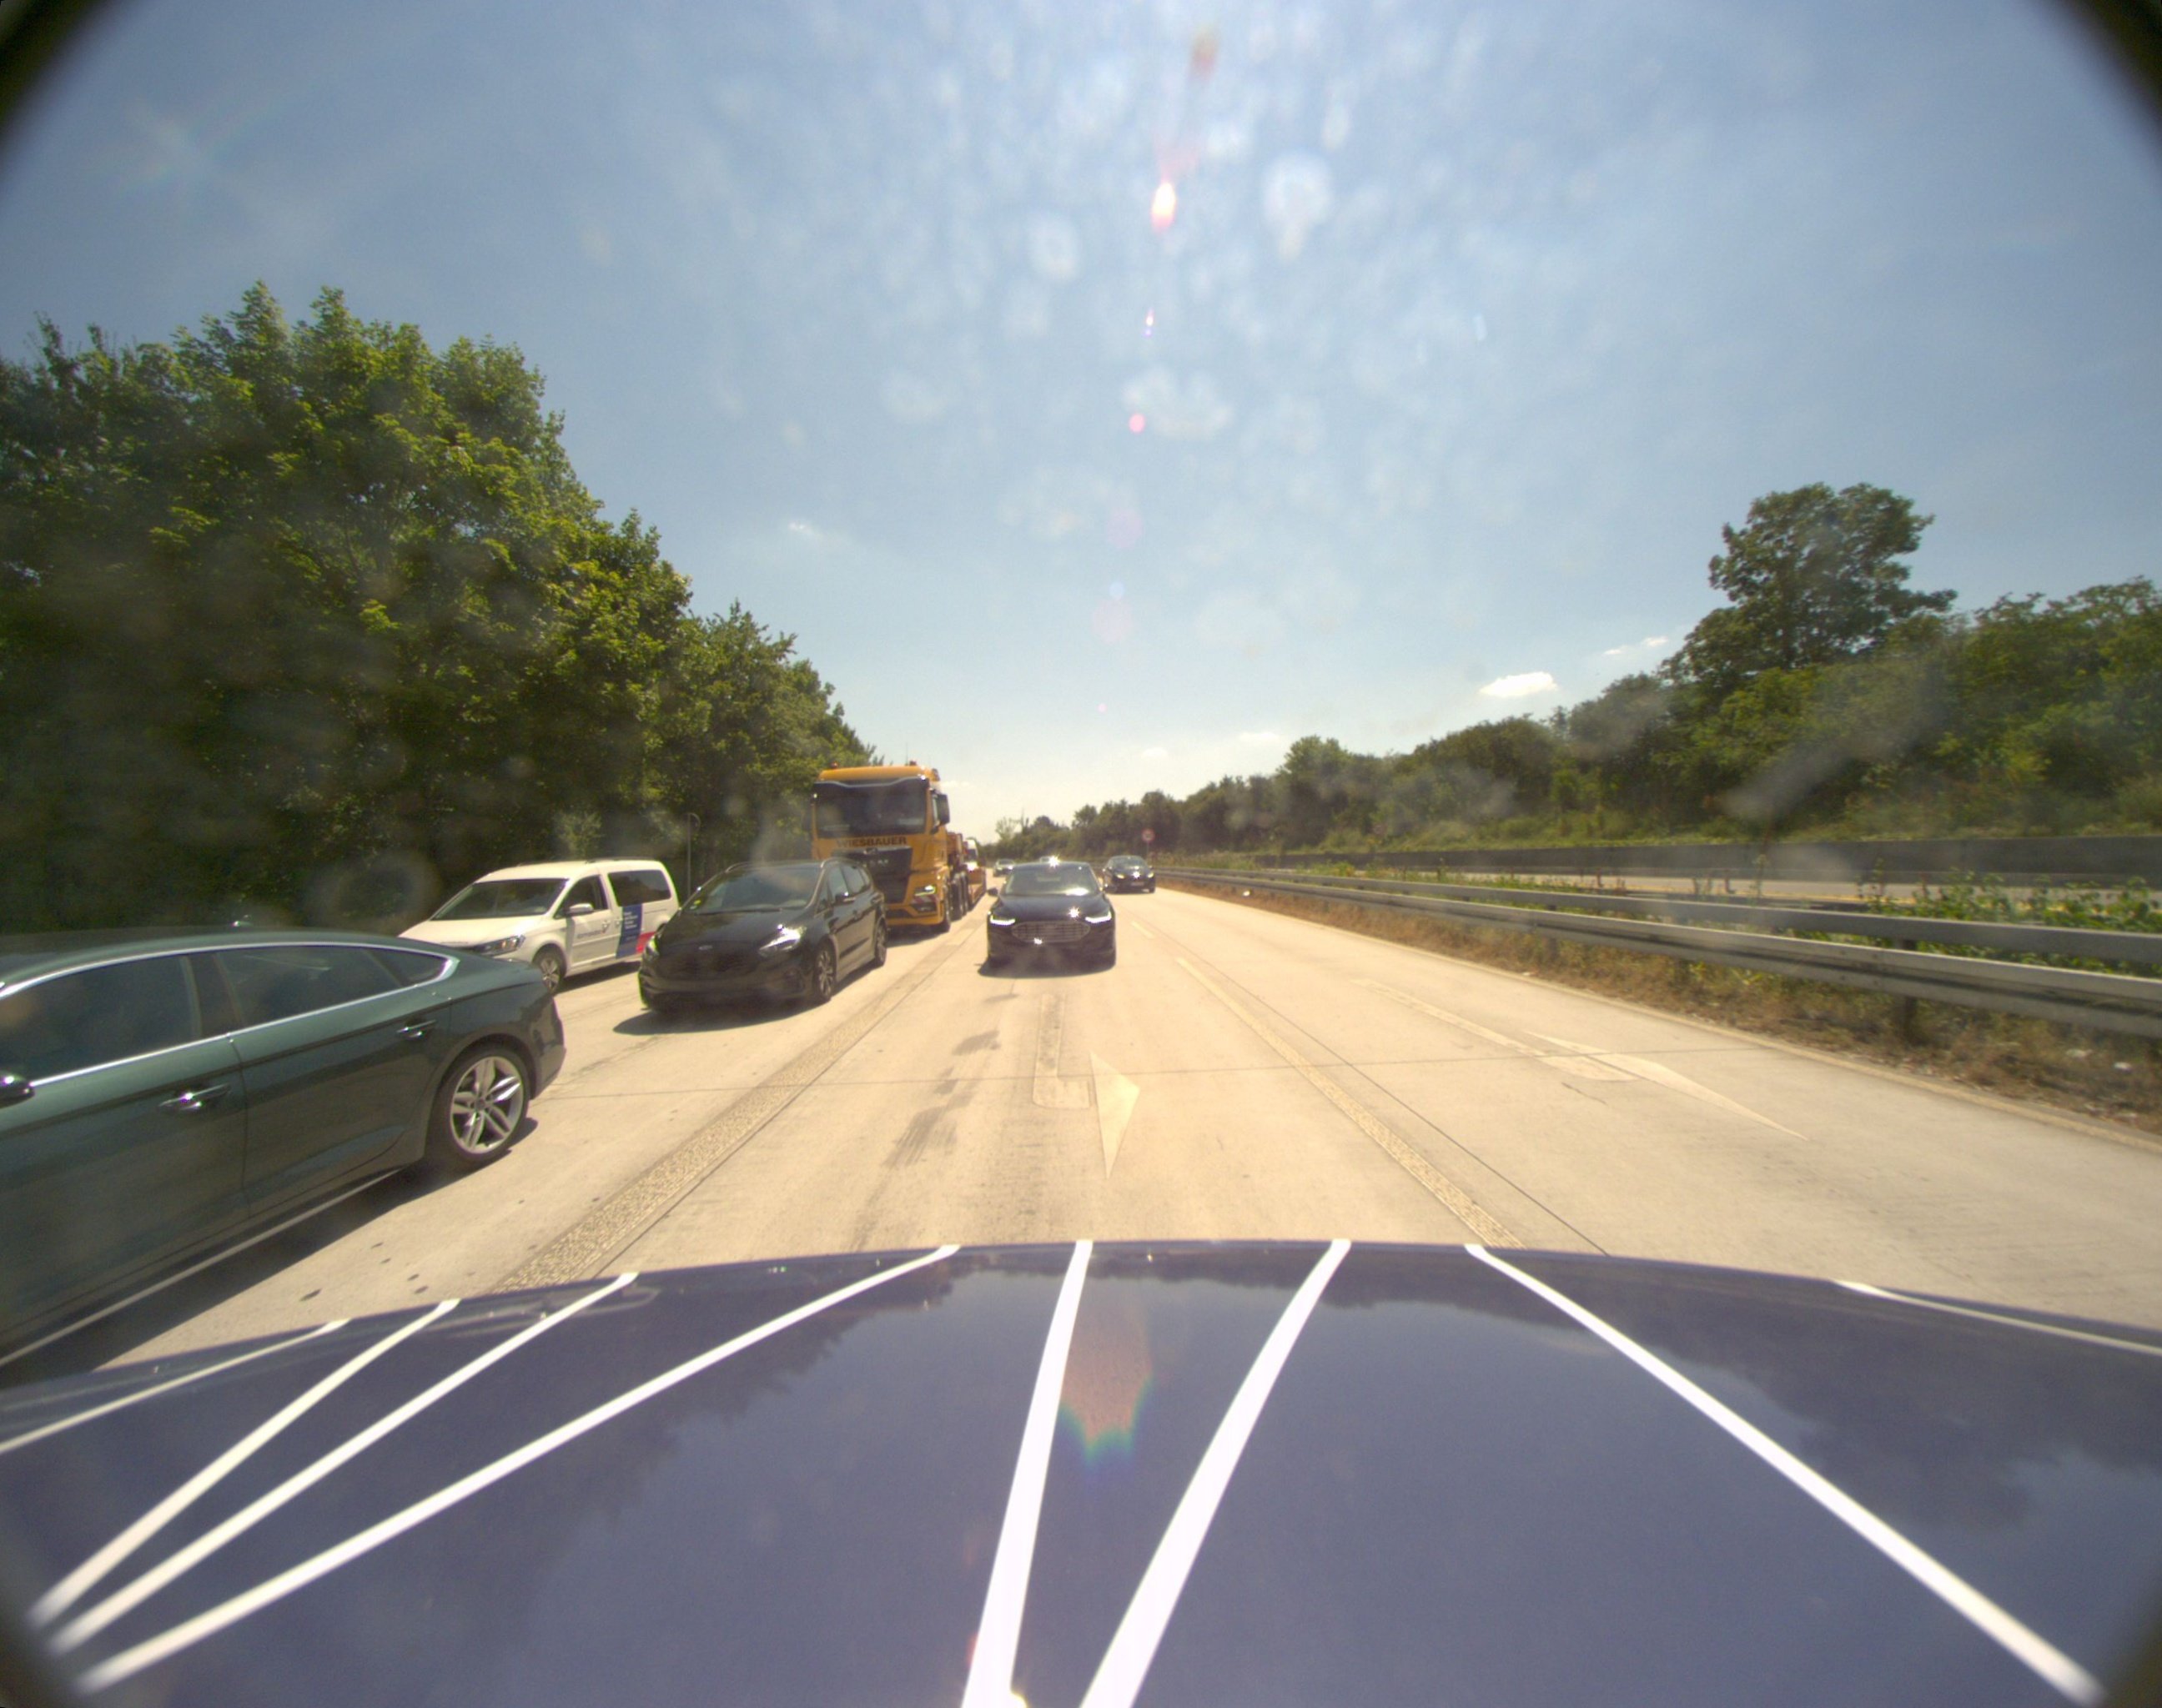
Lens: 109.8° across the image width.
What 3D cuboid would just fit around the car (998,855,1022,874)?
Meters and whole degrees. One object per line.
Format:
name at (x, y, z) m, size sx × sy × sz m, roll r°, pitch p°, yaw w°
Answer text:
car at (-5.983, 0.836, 63.542) m, size 1.891 × 1.456 × 3.997 m, roll -2°, pitch 1°, yaw -6°

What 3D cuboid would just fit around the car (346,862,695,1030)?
car at (-7.787, 1.105, 11.328) m, size 1.772 × 1.797 × 4.790 m, roll -2°, pitch 1°, yaw -3°

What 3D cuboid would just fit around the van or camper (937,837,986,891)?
van or camper at (-6.248, 0.466, 40.379) m, size 2.069 × 2.559 × 5.904 m, roll -2°, pitch 1°, yaw -5°

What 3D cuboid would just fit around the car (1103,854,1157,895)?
car at (1.918, 0.781, 31.015) m, size 1.627 × 1.476 × 3.998 m, roll -2°, pitch 1°, yaw -4°

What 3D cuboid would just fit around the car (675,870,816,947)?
car at (-8.009, 1.231, 18.623) m, size 1.773 × 1.454 × 4.362 m, roll -2°, pitch 1°, yaw -5°

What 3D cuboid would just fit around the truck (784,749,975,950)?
truck at (-4.393, -0.124, 18.399) m, size 3.022 × 3.751 × 7.466 m, roll -2°, pitch 1°, yaw -5°

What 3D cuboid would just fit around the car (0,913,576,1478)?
car at (-4.047, 1.135, 2.454) m, size 1.772 × 1.402 × 4.608 m, roll -2°, pitch 1°, yaw -1°

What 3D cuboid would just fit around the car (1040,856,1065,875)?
car at (-2.346, 0.911, 61.934) m, size 1.707 × 1.456 × 3.997 m, roll -2°, pitch 1°, yaw -6°

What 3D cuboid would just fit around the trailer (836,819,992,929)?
trailer at (-5.029, 0.476, 26.714) m, size 3.036 × 2.578 × 16.349 m, roll -2°, pitch 0°, yaw -5°

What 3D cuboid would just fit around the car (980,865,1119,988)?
car at (-0.528, 0.959, 11.918) m, size 1.731 × 1.430 × 4.302 m, roll -2°, pitch 0°, yaw -3°

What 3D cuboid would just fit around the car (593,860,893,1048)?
car at (-3.795, 0.975, 9.592) m, size 1.788 × 1.630 × 4.645 m, roll -2°, pitch 1°, yaw -2°
